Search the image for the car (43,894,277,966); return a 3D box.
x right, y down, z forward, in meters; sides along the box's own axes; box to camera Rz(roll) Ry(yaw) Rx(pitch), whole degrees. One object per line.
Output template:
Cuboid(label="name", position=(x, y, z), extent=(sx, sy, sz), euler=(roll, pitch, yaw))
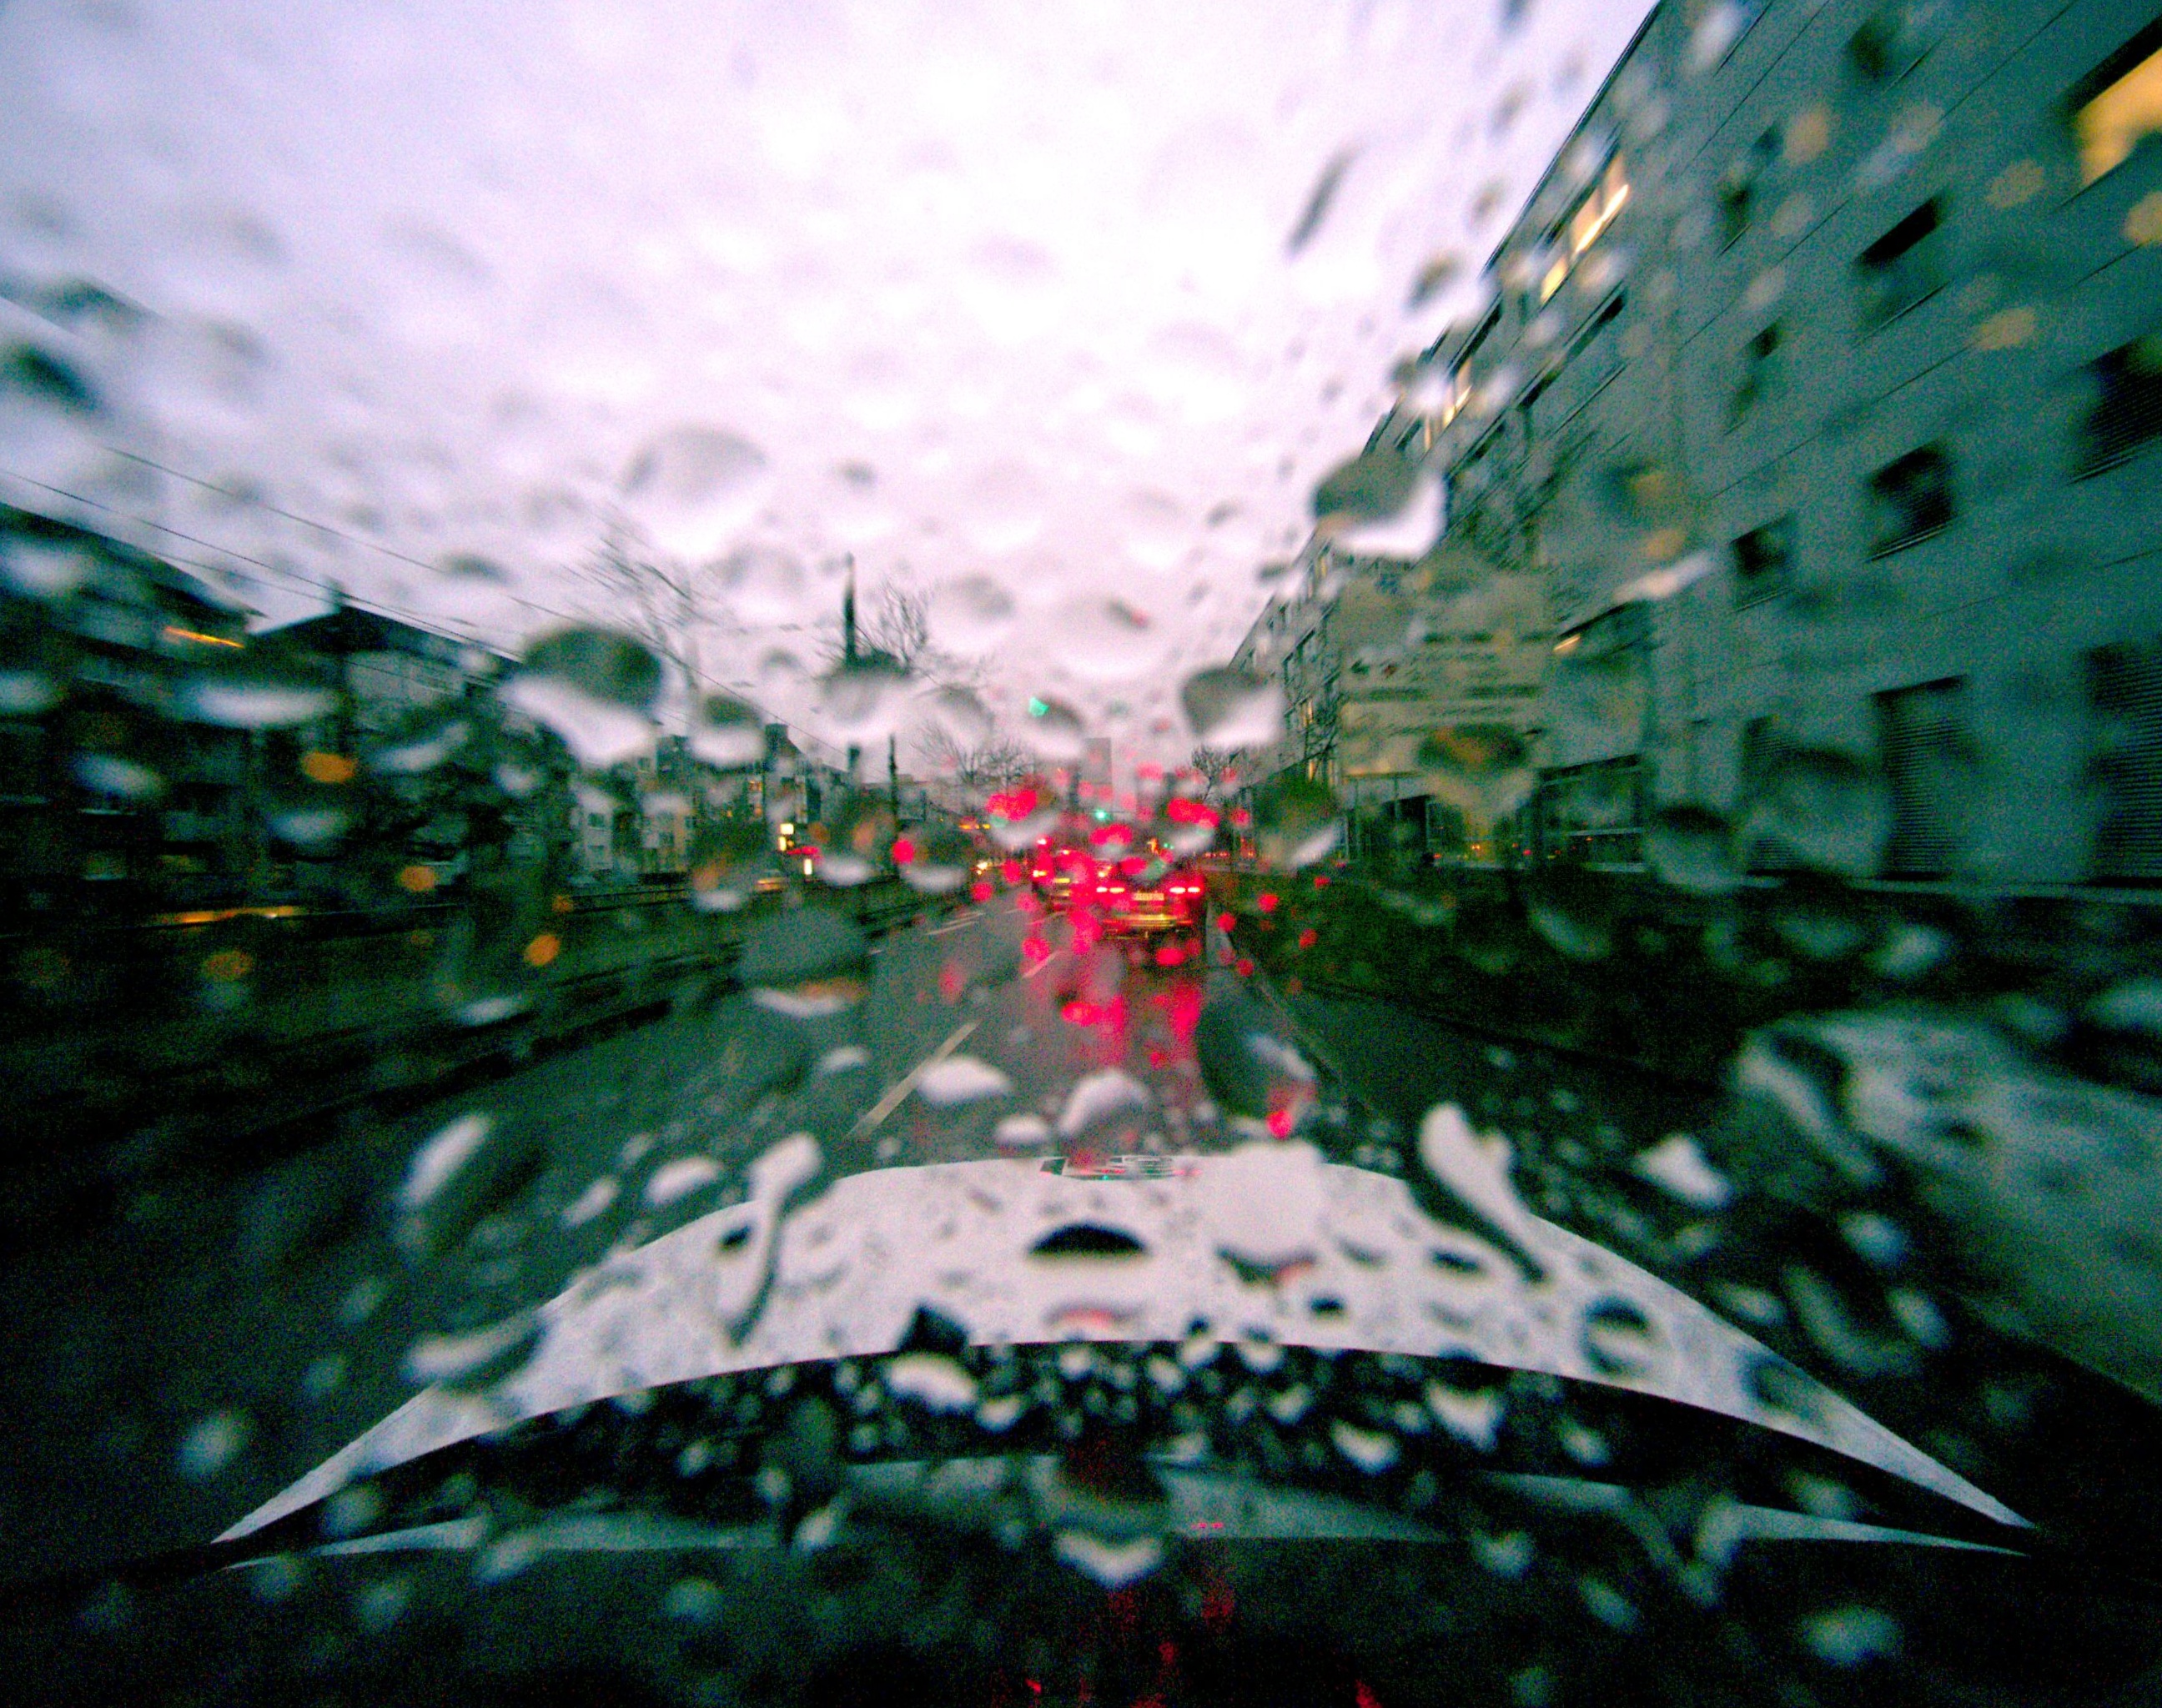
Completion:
Cuboid(label="car", position=(-21.325, 1.711, 19.060), extent=(1.681, 1.435, 3.239), euler=(-1, -1, 3))

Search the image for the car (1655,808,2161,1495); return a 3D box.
Cuboid(label="car", position=(2.988, 0.588, 1.359), extent=(1.586, 1.394, 3.487), euler=(-4, 0, 1))

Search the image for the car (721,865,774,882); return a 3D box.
Cuboid(label="car", position=(-28.572, 1.672, 69.795), extent=(3.790, 1.366, 1.696), euler=(0, -1, -4))

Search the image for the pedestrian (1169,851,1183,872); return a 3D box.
Cuboid(label="pedestrian", position=(8.372, 0.625, 72.004), extent=(0.788, 1.750, 0.867), euler=(-6, -1, 28))

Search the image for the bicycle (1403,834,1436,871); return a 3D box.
Cuboid(label="bicycle", position=(12.704, -0.071, 30.650), extent=(0.816, 1.273, 2.469), euler=(-6, -1, 17))

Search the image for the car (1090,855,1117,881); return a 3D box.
Cuboid(label="car", position=(1.863, 1.133, 65.726), extent=(1.984, 2.014, 4.004), euler=(-1, -1, 4))

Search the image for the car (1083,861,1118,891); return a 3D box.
Cuboid(label="car", position=(1.151, 1.290, 48.262), extent=(1.986, 1.642, 4.023), euler=(-1, -1, 2))

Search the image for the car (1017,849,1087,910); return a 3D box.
Cuboid(label="car", position=(-0.815, 0.768, 25.393), extent=(1.987, 1.712, 4.323), euler=(-1, -1, 0))

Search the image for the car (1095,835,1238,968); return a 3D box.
Cuboid(label="car", position=(1.324, 0.759, 14.300), extent=(1.988, 1.976, 4.065), euler=(0, -1, -1))

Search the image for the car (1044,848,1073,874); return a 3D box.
Cuboid(label="car", position=(-1.779, 0.568, 65.788), extent=(1.945, 2.033, 4.885), euler=(-1, 0, 2))
